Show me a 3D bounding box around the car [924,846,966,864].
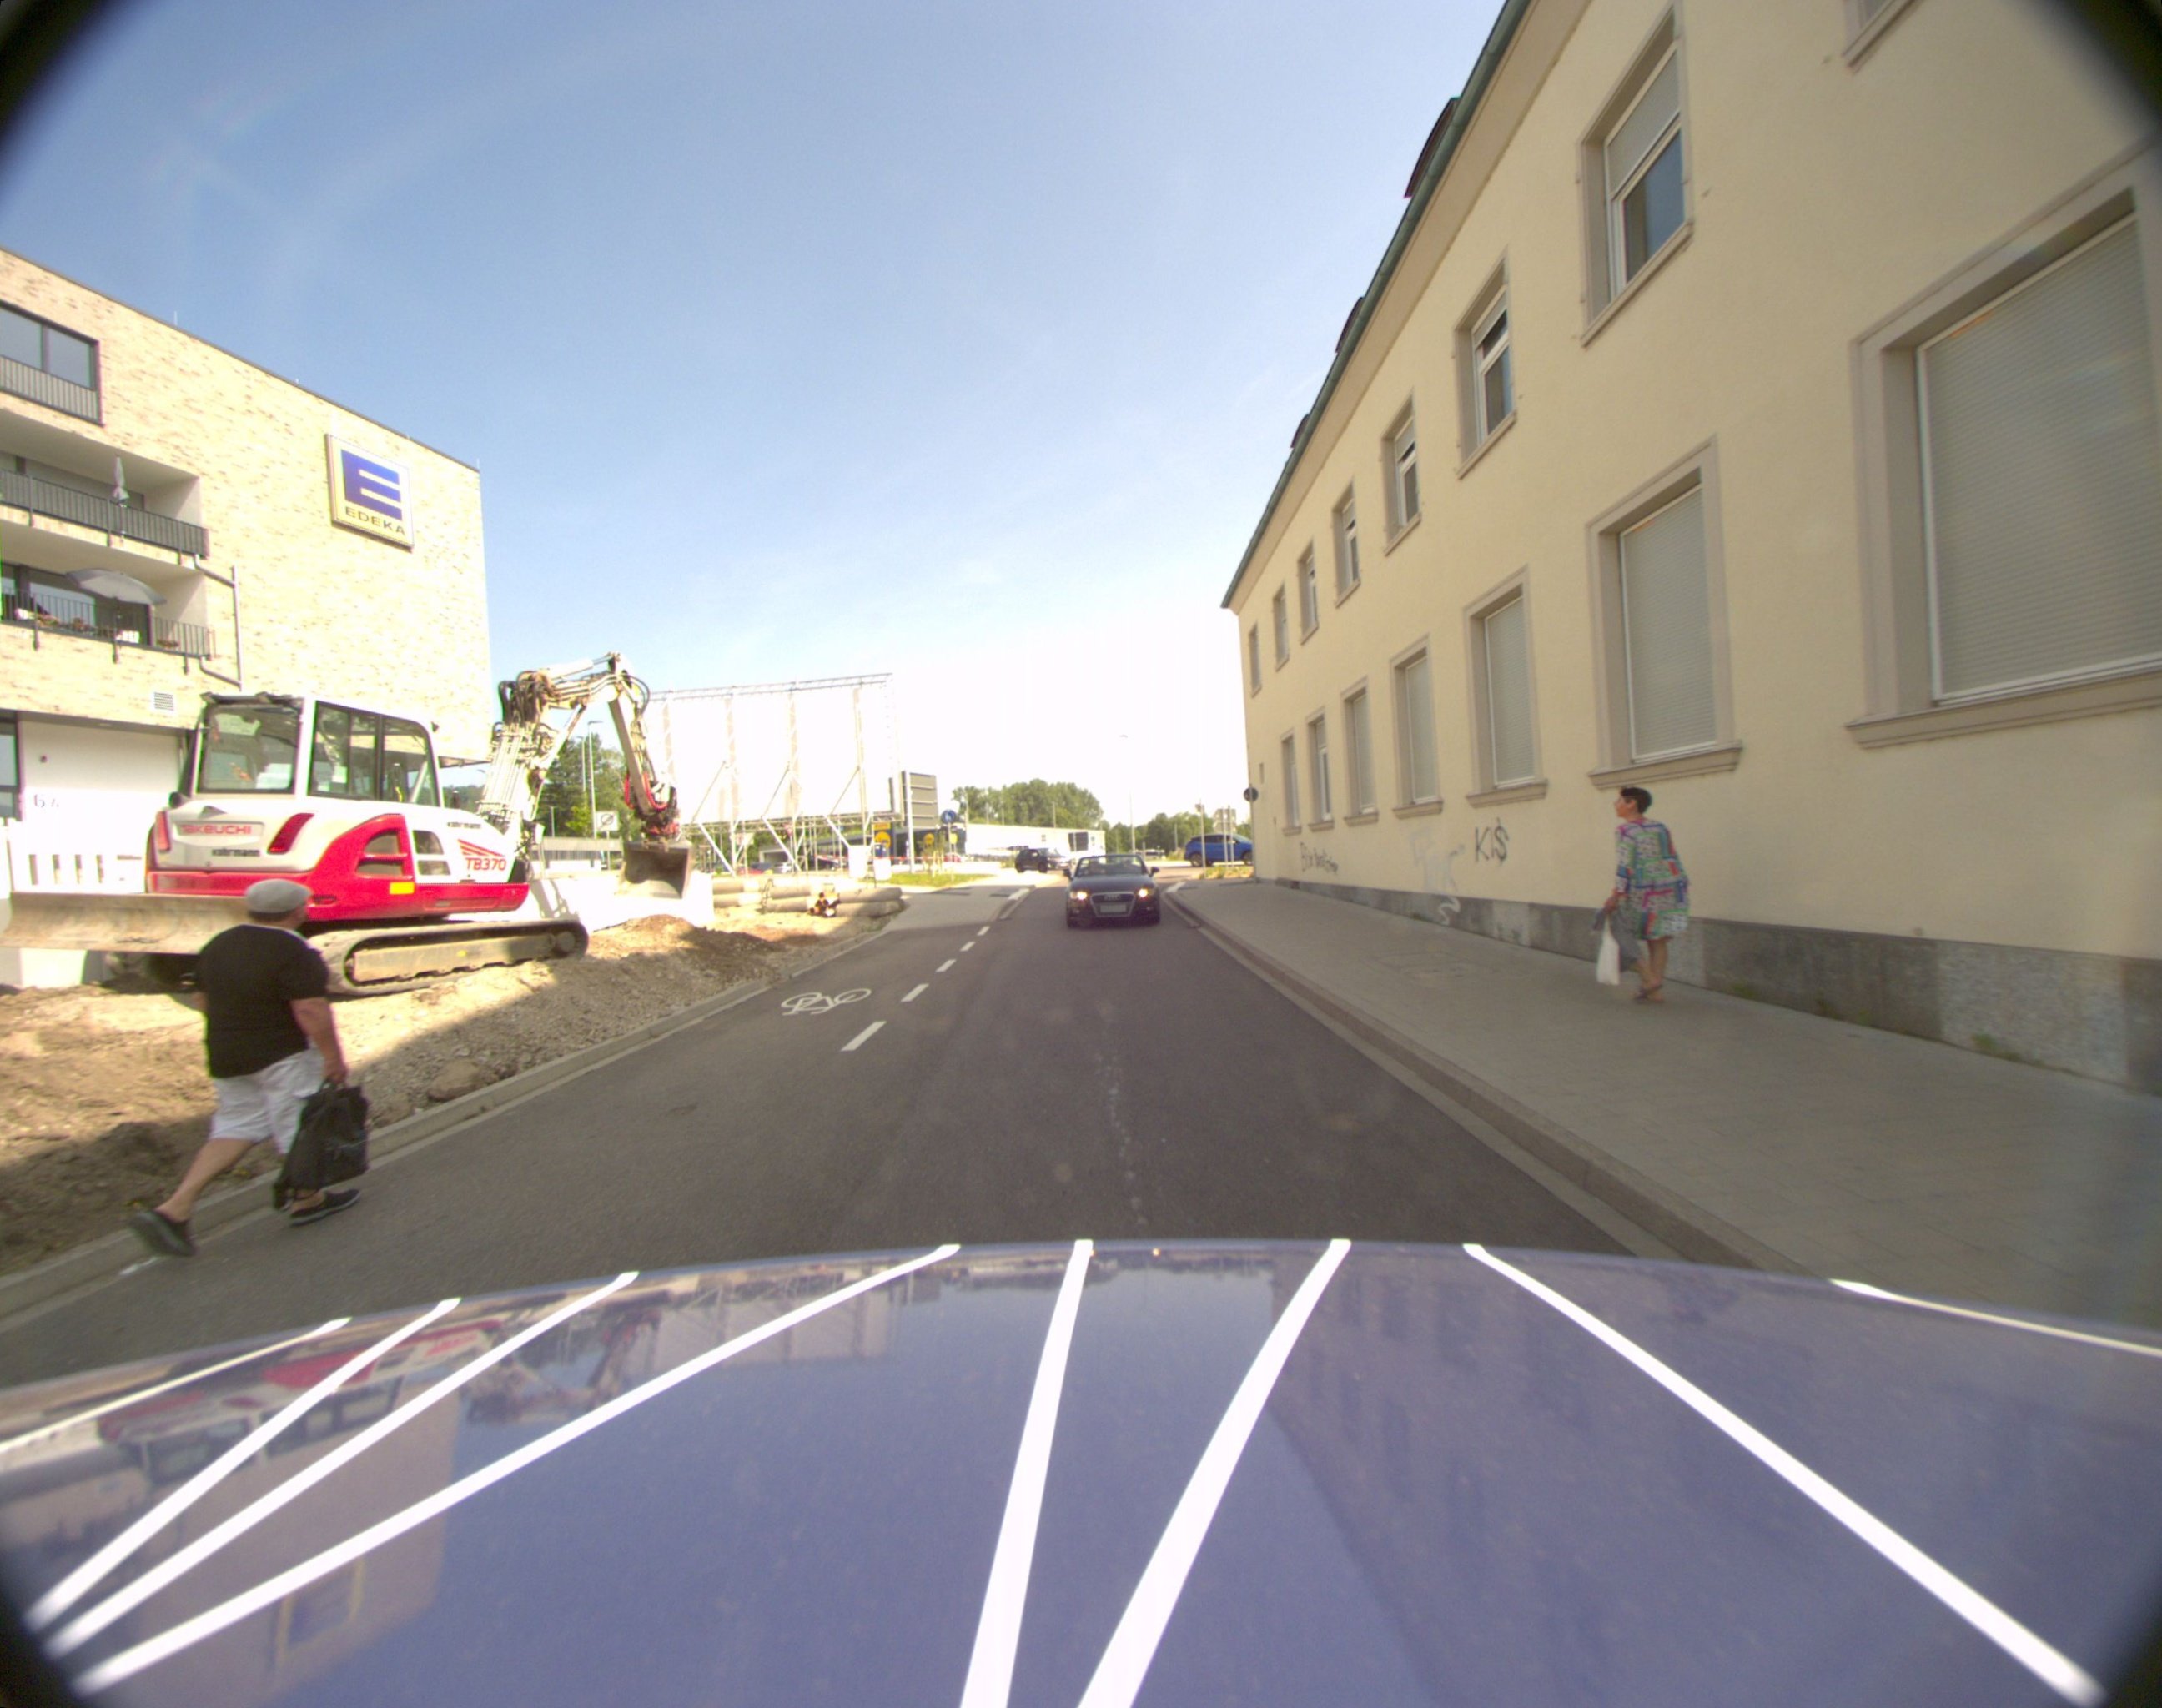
[{"bbox_3d":[-14.882,0.160,83.165,4.018,1.564,1.780,-6,-1,3],"label":"car"}]

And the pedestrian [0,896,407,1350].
[{"bbox_3d":[-3.814,1.079,3.332,0.890,1.673,0.718,-5,1,1],"label":"pedestrian"}]

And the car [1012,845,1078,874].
[{"bbox_3d":[-2.120,0.349,44.142,1.646,1.384,4.220,-5,0,-37],"label":"car"}]

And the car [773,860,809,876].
[{"bbox_3d":[-32.691,1.547,85.666,1.663,1.564,3.791,-6,-1,17],"label":"car"}]

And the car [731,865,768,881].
[{"bbox_3d":[-37.957,2.144,87.082,1.760,1.564,3.791,-6,-1,17],"label":"car"}]

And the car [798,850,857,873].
[{"bbox_3d":[-22.873,0.703,68.564,4.851,1.521,1.925,-6,-1,22],"label":"car"}]

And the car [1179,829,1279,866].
[{"bbox_3d":[7.224,-0.305,37.209,4.342,1.654,1.890,-1,2,31],"label":"car"}]

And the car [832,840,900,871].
[{"bbox_3d":[-20.914,0.158,73.956,6.080,2.369,2.063,-6,-1,20],"label":"car"}]

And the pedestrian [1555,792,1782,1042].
[{"bbox_3d":[4.201,0.426,5.507,0.960,1.621,0.758,-4,1,1],"label":"pedestrian"}]

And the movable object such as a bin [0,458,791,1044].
[{"bbox_3d":[-6.613,-0.690,9.136,2.300,3.831,7.800,-6,0,5],"label":"movable object such as a bin"}]

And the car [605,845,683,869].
[{"bbox_3d":[-30.247,0.227,52.570,4.812,1.546,1.861,-2,-2,17],"label":"car"}]

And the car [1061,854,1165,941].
[{"bbox_3d":[0.651,0.751,15.076,1.721,1.315,4.224,-3,1,3],"label":"car"}]
